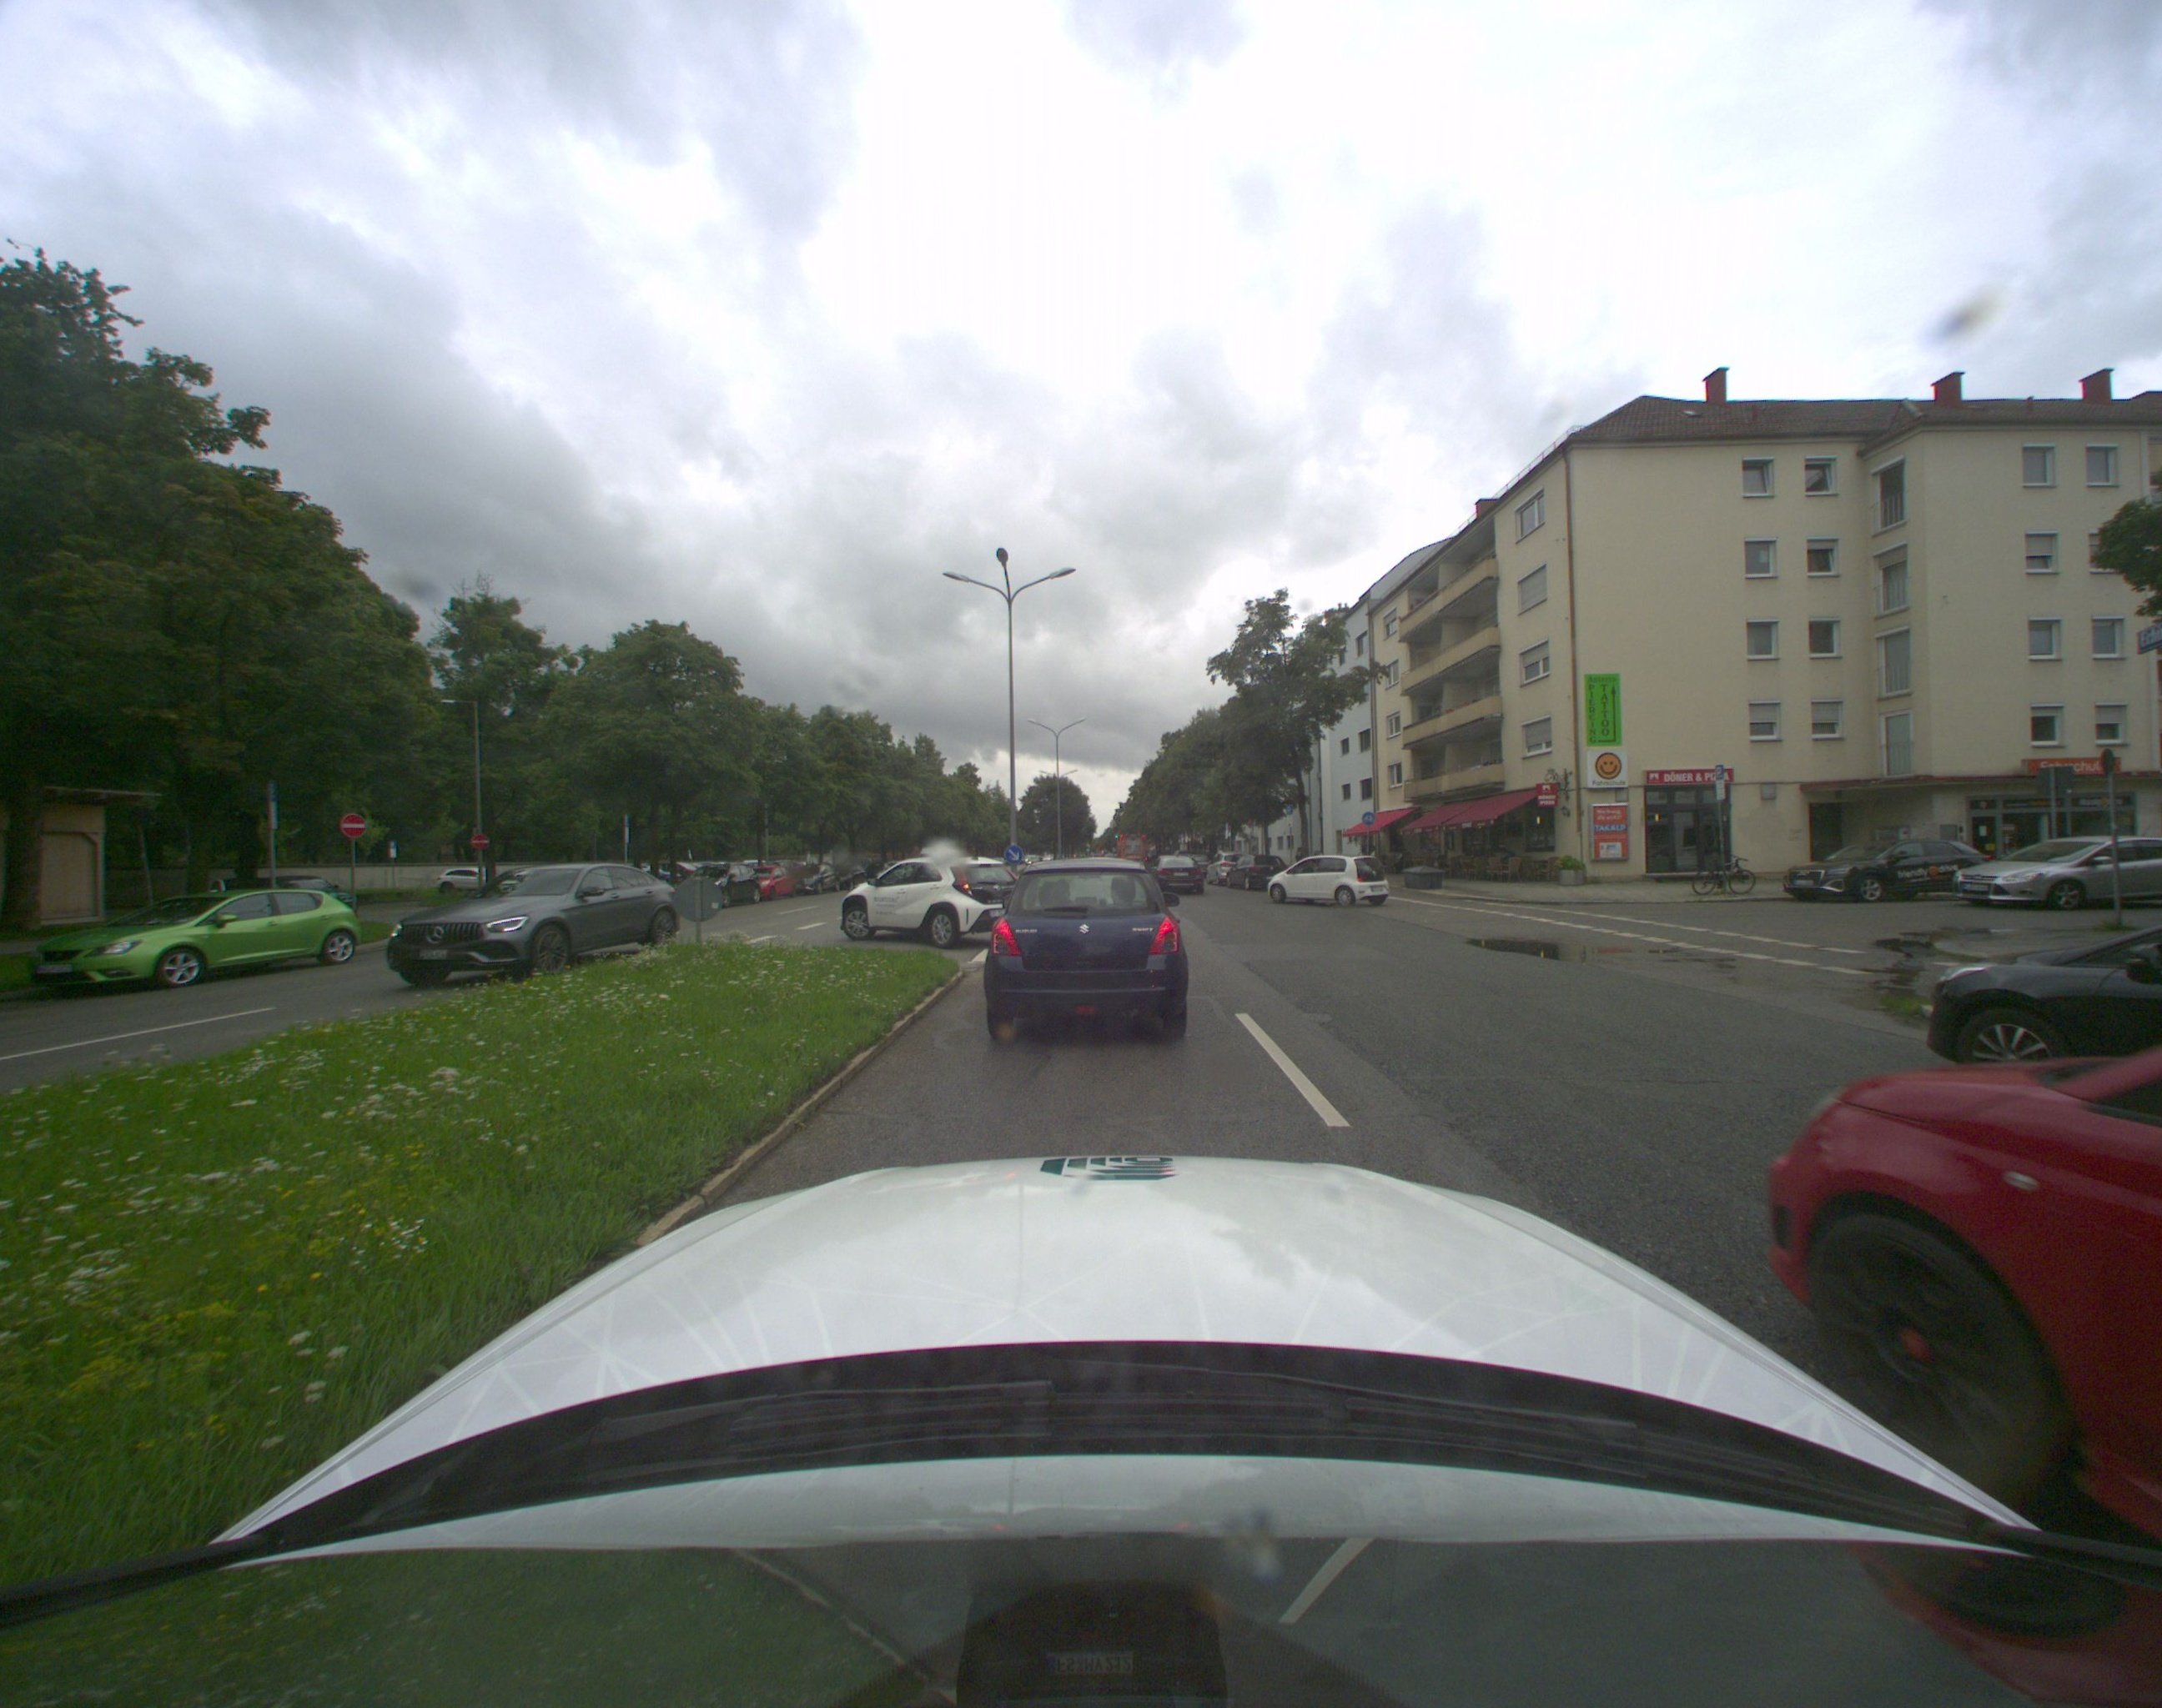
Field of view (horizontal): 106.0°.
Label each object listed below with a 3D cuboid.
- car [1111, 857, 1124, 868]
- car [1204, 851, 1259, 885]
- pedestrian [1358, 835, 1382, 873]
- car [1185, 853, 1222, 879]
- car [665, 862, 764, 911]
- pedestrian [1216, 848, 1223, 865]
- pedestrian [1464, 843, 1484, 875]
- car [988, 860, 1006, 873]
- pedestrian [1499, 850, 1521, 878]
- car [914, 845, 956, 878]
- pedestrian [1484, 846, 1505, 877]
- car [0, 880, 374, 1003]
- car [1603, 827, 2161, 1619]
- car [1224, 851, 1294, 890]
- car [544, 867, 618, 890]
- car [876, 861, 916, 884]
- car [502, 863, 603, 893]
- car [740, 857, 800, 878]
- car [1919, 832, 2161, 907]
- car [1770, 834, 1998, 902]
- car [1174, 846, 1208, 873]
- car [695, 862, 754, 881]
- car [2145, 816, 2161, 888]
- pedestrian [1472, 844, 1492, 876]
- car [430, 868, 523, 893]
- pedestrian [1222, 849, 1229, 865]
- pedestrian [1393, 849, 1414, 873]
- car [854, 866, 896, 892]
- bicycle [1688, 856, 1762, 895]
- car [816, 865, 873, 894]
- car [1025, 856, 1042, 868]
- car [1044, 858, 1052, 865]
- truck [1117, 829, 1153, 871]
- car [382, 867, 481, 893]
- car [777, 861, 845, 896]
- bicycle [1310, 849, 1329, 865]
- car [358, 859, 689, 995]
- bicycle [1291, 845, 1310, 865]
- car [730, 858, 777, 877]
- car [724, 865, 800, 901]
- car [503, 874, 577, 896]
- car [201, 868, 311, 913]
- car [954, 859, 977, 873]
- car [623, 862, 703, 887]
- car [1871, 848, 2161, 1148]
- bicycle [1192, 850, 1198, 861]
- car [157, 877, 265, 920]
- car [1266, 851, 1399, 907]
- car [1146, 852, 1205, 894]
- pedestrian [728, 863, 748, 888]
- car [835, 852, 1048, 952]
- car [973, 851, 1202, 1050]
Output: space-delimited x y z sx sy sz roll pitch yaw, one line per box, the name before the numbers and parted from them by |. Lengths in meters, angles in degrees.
car | 5.649 1.309 125.868 1.822 1.522 3.772 -1 0 1
car | 7.200 0.655 39.355 1.823 1.522 4.523 -1 0 0
pedestrian | 14.902 0.002 41.962 0.870 1.929 0.757 -1 0 -15
car | 7.766 0.741 51.925 1.823 1.522 3.770 -1 0 0
car | -13.744 1.185 30.841 1.815 1.700 4.238 -1 -1 0
pedestrian | 14.380 0.253 84.719 0.498 1.733 0.733 -3 0 1
pedestrian | 16.539 0.219 34.270 0.536 1.339 0.552 -1 0 0
car | -11.194 1.614 108.748 1.881 1.537 4.313 -4 0 -1
pedestrian | 16.220 0.379 30.785 0.536 1.054 0.487 -1 0 1
car | -12.823 0.593 71.979 2.132 2.643 7.107 -3 0 2
pedestrian | 16.422 0.308 32.345 0.536 1.214 0.487 -1 0 1
car | -14.259 1.288 13.363 1.634 1.499 4.002 -3 0 2
car | 2.884 0.688 1.060 1.712 1.500 4.301 -1 0 1
car | 7.324 0.646 33.821 1.825 1.473 3.883 -1 0 -4
car | -38.630 1.892 62.985 4.490 1.625 2.000 -1 0 0
car | -13.139 1.296 58.043 1.816 1.527 4.298 -3 -1 0
car | -27.817 1.243 42.971 3.980 1.442 1.997 -1 0 -5
car | -24.699 1.078 64.766 3.971 1.570 1.816 -1 0 2
car | 20.879 0.305 17.195 4.189 1.442 2.002 -1 0 4
car | 19.580 0.325 19.969 3.913 1.519 1.730 -1 0 -1
car | 7.708 0.364 57.434 1.823 1.746 4.507 -1 0 0
car | -29.659 1.413 67.819 3.980 1.442 1.997 -1 0 -5
car | 30.595 -0.104 20.530 4.968 1.885 1.999 -1 0 -1
pedestrian | 16.409 0.248 33.333 0.536 1.268 0.487 -1 0 0
car | -38.429 1.702 51.833 4.487 1.442 2.002 -1 0 3
pedestrian | 15.032 0.266 84.774 0.547 1.629 0.641 -3 0 1
pedestrian | 15.953 0.344 40.280 0.741 1.163 0.647 -1 0 1
car | -13.271 1.592 52.650 1.817 1.447 3.995 -3 0 -3
bicycle | 17.472 0.576 22.117 1.532 1.011 0.554 -1 0 4
car | -13.390 1.409 46.313 1.814 1.409 4.004 -3 0 3
car | -6.207 1.083 106.060 1.809 1.448 4.782 -2 0 0
car | -7.409 1.660 182.663 1.756 1.537 4.312 -4 0 -1
truck | 5.035 -0.357 78.293 3.030 3.557 13.681 -1 0 2
car | -39.332 1.577 49.358 4.484 1.442 2.003 -1 0 5
car | -13.504 1.199 40.986 1.814 1.599 4.115 -1 0 3
bicycle | 16.477 0.190 56.283 0.619 1.046 2.196 -5 0 1
car | -8.057 0.928 12.434 1.815 1.589 4.503 -1 0 1
bicycle | 16.363 0.045 60.638 0.700 1.407 2.593 -3 0 1
car | -37.792 1.528 94.080 4.490 2.034 2.000 -1 0 0
car | -13.937 1.245 35.801 1.815 1.479 3.809 -1 -1 0
car | -37.562 2.147 56.611 3.967 1.372 1.881 -1 0 6
car | -28.764 1.236 28.378 3.809 1.409 1.871 -1 0 31
car | -12.359 1.274 87.640 1.851 1.491 4.141 -1 -1 0
car | -26.463 1.290 51.637 3.980 1.442 1.997 -1 0 -5
car | 6.190 0.721 3.591 1.638 1.477 3.957 -1 0 1
bicycle | 16.463 0.216 117.714 0.578 1.463 1.689 -1 0 1
car | -32.465 1.609 30.362 4.411 1.409 1.871 -1 0 31
car | 7.316 0.697 23.930 1.699 1.490 3.397 -1 0 -35
car | 3.552 0.690 31.499 1.815 1.477 4.691 1 0 1
pedestrian | -20.750 1.280 49.289 0.792 1.495 0.856 -2 0 1
car | -2.574 0.773 14.599 3.673 1.553 1.839 -1 0 41
car | 0.121 0.747 8.294 1.746 1.505 4.002 -1 0 2
